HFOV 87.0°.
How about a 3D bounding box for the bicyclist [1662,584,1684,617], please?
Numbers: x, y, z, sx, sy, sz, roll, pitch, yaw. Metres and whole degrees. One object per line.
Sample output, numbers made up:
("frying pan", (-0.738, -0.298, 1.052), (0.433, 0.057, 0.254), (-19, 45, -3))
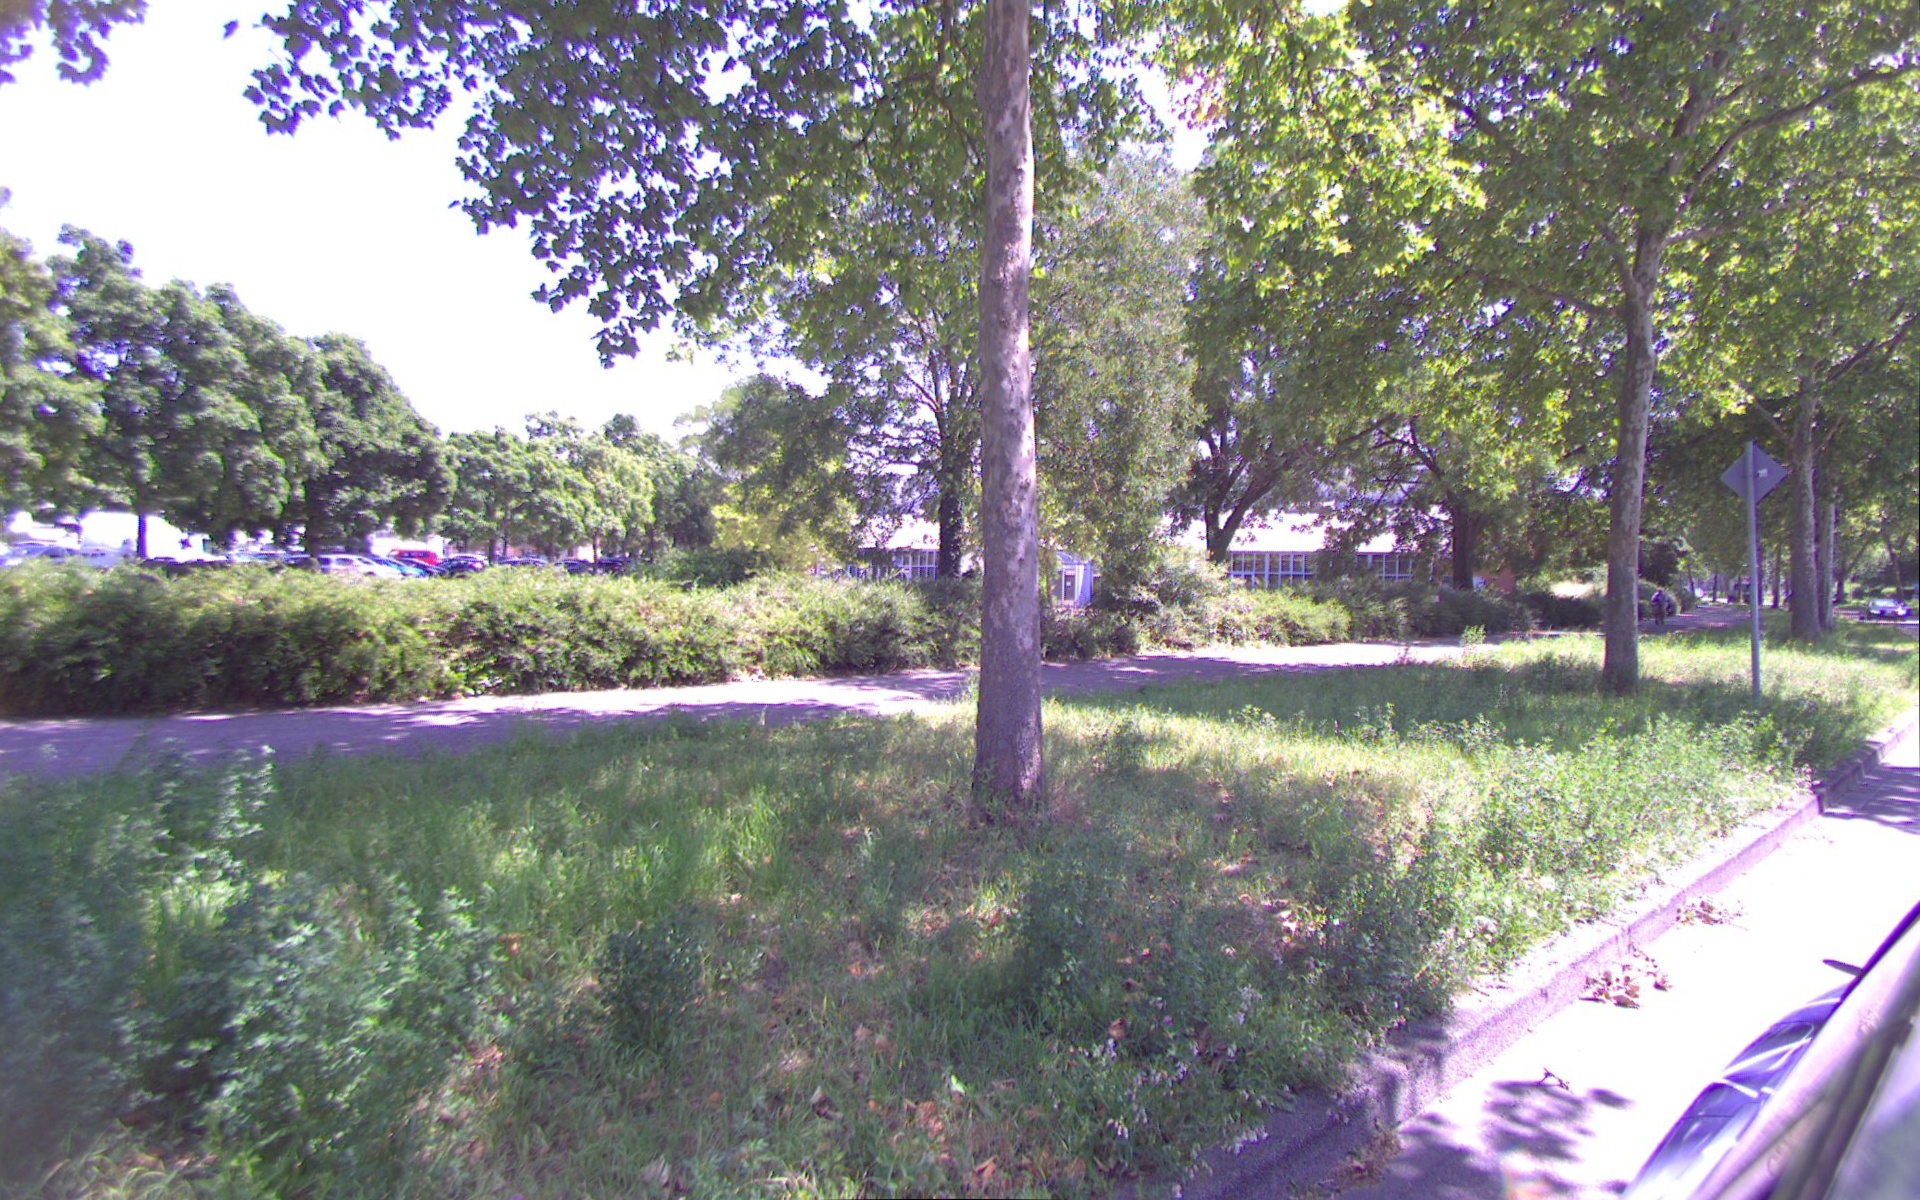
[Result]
("bicyclist", (29.195, 0.017, 41.445), (0.655, 1.355, 0.599), (0, 1, -43))

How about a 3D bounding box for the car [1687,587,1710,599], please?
("car", (97.048, -0.925, 133.065), (1.490, 1.404, 3.408), (2, 1, 19))

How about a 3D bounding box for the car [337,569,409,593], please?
("car", (-25.476, -0.825, 43.961), (2.547, 0.999, 0.955), (1, 1, -8))

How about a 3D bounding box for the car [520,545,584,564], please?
("car", (-62.073, -6.913, 154.191), (8.647, 2.620, 3.054), (1, 1, -9))

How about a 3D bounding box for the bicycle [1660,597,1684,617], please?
("bicycle", (29.139, 0.289, 41.400), (1.640, 0.773, 0.464), (0, 2, -44))

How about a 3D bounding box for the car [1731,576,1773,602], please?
("car", (86.310, -1.173, 110.380), (2.897, 2.687, 6.295), (2, 1, 32))

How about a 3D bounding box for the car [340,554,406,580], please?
("car", (-27.638, -1.544, 47.684), (2.547, 1.141, 0.955), (1, 1, -8))

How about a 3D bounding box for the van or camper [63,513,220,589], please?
("van or camper", (-32.488, -1.916, 40.396), (2.161, 2.785, 5.131), (1, 2, 0))

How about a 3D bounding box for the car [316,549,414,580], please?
("car", (-27.331, -1.624, 46.586), (3.501, 1.241, 1.622), (3, 0, -8))

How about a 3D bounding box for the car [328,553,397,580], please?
("car", (-27.511, -1.539, 46.609), (2.547, 1.141, 1.008), (1, 1, -8))

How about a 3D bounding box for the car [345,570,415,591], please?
("car", (-25.831, -0.874, 45.128), (2.547, 0.852, 0.955), (1, 1, -8))

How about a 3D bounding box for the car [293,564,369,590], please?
("car", (-26.300, -0.955, 42.359), (2.547, 1.049, 0.955), (1, 1, -8))

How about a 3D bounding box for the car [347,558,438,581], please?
("car", (-27.498, -1.464, 49.127), (3.494, 1.047, 1.685), (1, 2, -8))

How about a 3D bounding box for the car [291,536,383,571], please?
("car", (-38.798, -2.903, 63.147), (4.334, 2.039, 2.249), (1, 1, -5))

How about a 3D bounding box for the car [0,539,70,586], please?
("car", (-36.522, -1.431, 38.427), (1.919, 1.739, 4.073), (1, 1, -1))

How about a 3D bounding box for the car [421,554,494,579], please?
("car", (-28.614, -1.905, 57.759), (3.357, 1.383, 1.720), (1, 1, -8))

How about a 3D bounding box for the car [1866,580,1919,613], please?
("car", (57.893, -0.232, 62.632), (1.985, 1.905, 3.954), (2, 1, 32))

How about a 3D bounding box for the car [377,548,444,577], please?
("car", (-40.837, -2.781, 75.337), (3.920, 2.039, 1.969), (-1, 0, -6))

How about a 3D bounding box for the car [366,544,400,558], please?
("car", (-69.874, -5.920, 122.581), (1.433, 1.638, 3.326), (2, 2, 35))

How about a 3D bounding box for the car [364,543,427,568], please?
("car", (-76.131, -5.972, 136.679), (7.056, 3.221, 3.197), (0, 1, -24))
